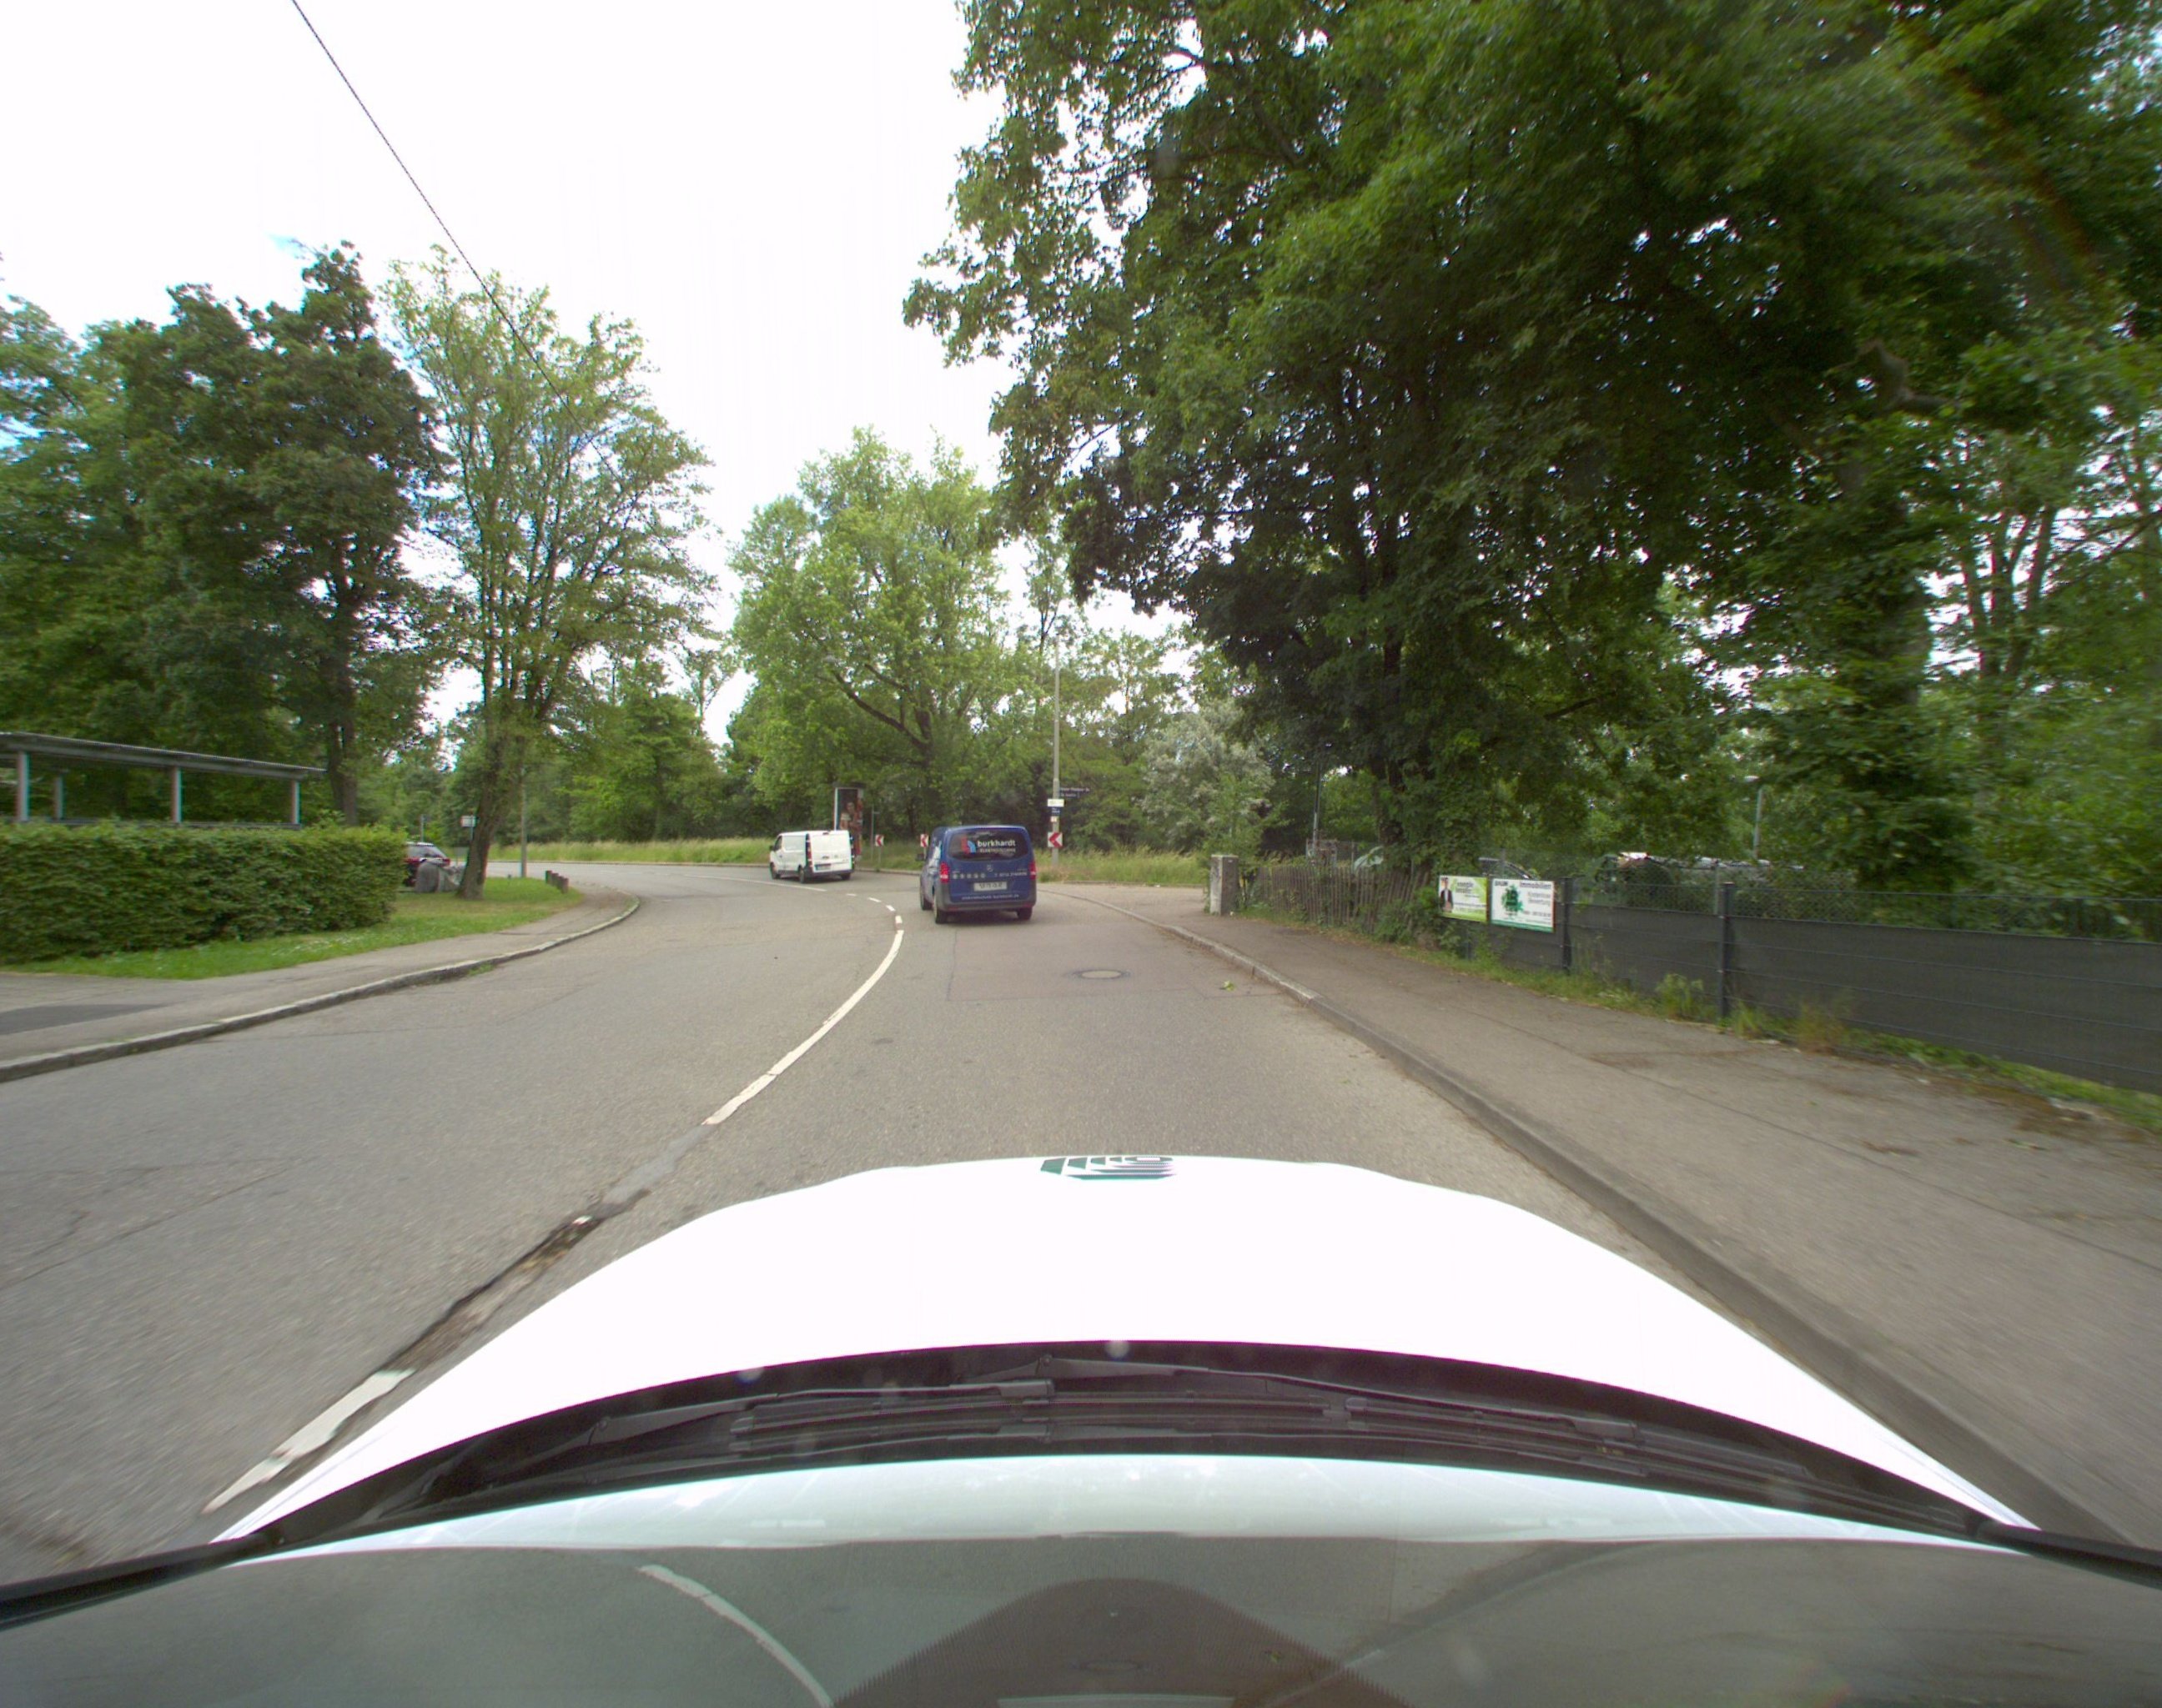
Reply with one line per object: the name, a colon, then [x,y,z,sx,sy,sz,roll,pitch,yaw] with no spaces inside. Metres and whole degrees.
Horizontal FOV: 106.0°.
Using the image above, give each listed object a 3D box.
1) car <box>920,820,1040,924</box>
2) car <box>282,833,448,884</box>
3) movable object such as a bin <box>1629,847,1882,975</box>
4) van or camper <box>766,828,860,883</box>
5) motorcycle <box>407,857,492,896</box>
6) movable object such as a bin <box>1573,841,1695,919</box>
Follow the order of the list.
car: [-2.226,0.296,16.947,1.916,1.837,4.273,-2,1,-14]
car: [-23.217,0.123,26.470,4.291,1.594,1.753,0,0,11]
movable object such as a bin: [10.249,0.796,12.572,2.098,1.787,2.207,0,0,-2]
van or camper: [-10.737,-0.022,32.357,2.036,1.956,4.841,-3,3,-37]
motorcycle: [-20.271,0.698,26.209,0.856,1.151,2.073,0,1,12]
movable object such as a bin: [11.666,0.509,17.270,1.419,1.547,1.673,0,1,-5]
